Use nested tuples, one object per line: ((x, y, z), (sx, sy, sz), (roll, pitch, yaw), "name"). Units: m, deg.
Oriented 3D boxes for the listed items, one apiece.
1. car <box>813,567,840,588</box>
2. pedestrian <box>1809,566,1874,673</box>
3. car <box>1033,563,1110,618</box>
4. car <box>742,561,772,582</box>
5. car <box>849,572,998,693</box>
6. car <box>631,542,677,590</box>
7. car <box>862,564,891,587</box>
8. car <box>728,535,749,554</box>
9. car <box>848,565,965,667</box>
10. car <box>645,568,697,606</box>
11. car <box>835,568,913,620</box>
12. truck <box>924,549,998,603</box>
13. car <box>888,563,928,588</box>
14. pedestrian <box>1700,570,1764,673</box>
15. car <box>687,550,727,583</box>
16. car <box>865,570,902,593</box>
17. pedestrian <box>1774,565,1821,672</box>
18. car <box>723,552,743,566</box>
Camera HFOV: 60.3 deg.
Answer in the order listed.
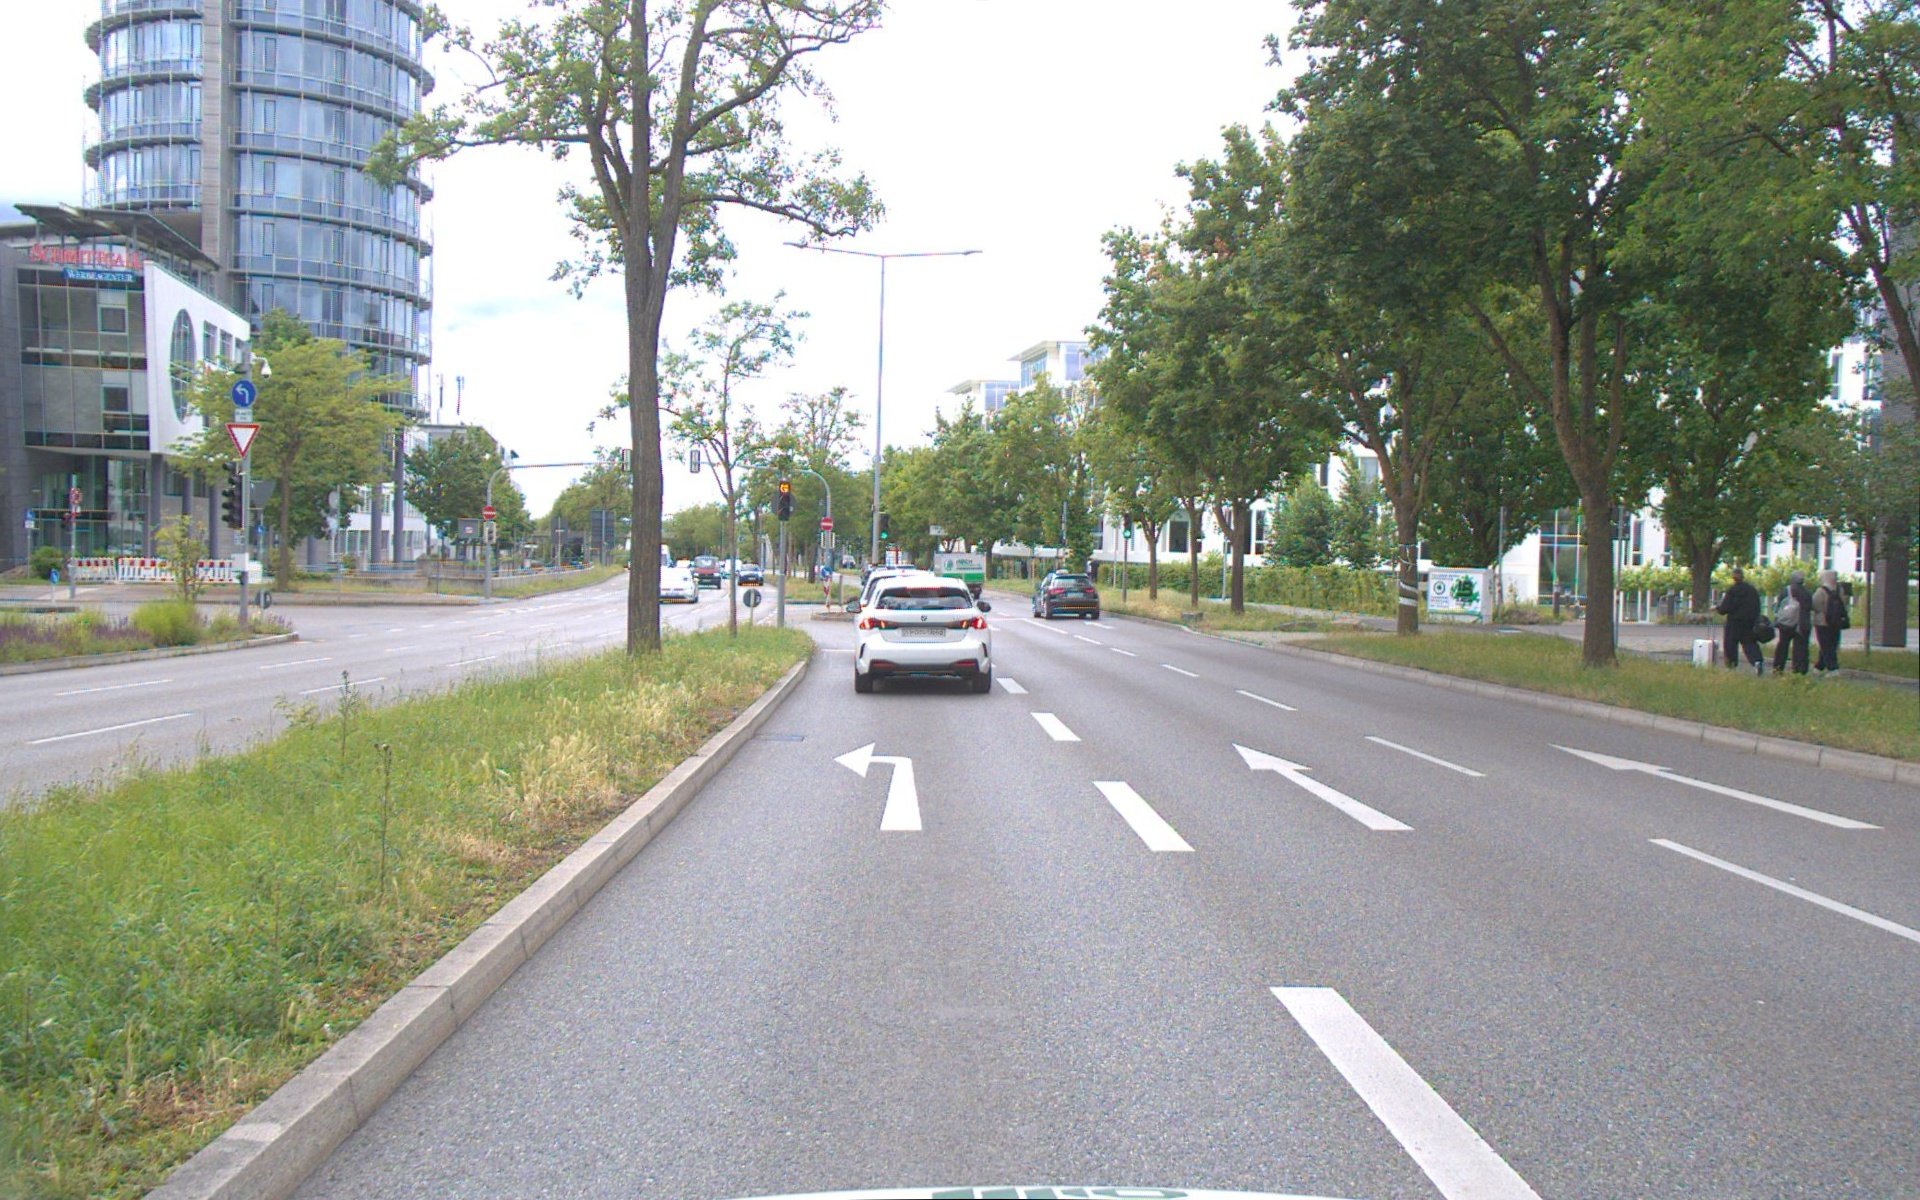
((-10.260, -1.760, 127.056), (1.954, 1.516, 3.997), (1, 1, -5), "car")
((13.276, 0.285, 24.931), (0.577, 1.579, 0.744), (1, 1, 3), "pedestrian")
((3.485, -0.322, 52.510), (1.954, 1.624, 3.998), (1, 1, -3), "car")
((-13.908, -1.932, 113.415), (1.718, 1.395, 3.778), (0, 1, -2), "car")
((-0.434, 0.387, 22.526), (1.825, 1.474, 4.000), (1, 0, 0), "car")
((-17.904, -1.997, 97.051), (1.955, 2.679, 5.870), (2, 1, -5), "car")
((-6.029, -1.784, 119.777), (1.954, 1.516, 3.997), (1, 1, -5), "car")
((-25.089, -6.294, 187.440), (1.955, 2.045, 4.320), (3, 1, -5), "car")
((-0.950, 0.261, 30.148), (1.953, 1.701, 3.999), (1, 0, -1), "car")
((-12.182, -0.578, 69.945), (1.719, 1.469, 4.131), (3, 1, -5), "car")
((-2.635, -0.195, 51.487), (1.952, 1.534, 4.002), (1, 0, 3), "car")
((-0.007, -1.184, 82.451), (2.806, 2.563, 6.276), (1, 0, -8), "truck")
((-3.233, -1.528, 102.176), (1.957, 1.534, 3.992), (1, 1, -9), "car")
((12.115, 0.329, 25.965), (0.710, 1.579, 0.587), (1, 1, 3), "pedestrian")
((-15.734, -2.073, 103.035), (1.897, 1.951, 4.971), (1, 1, -3), "car")
((-5.457, -1.312, 117.322), (1.959, 1.534, 3.987), (1, 1, -13), "car")
((12.618, 0.275, 24.918), (0.400, 1.579, 0.562), (2, 0, 3), "pedestrian")
((-28.100, -5.036, 204.595), (1.953, 1.646, 3.999), (3, 1, -2), "car")
